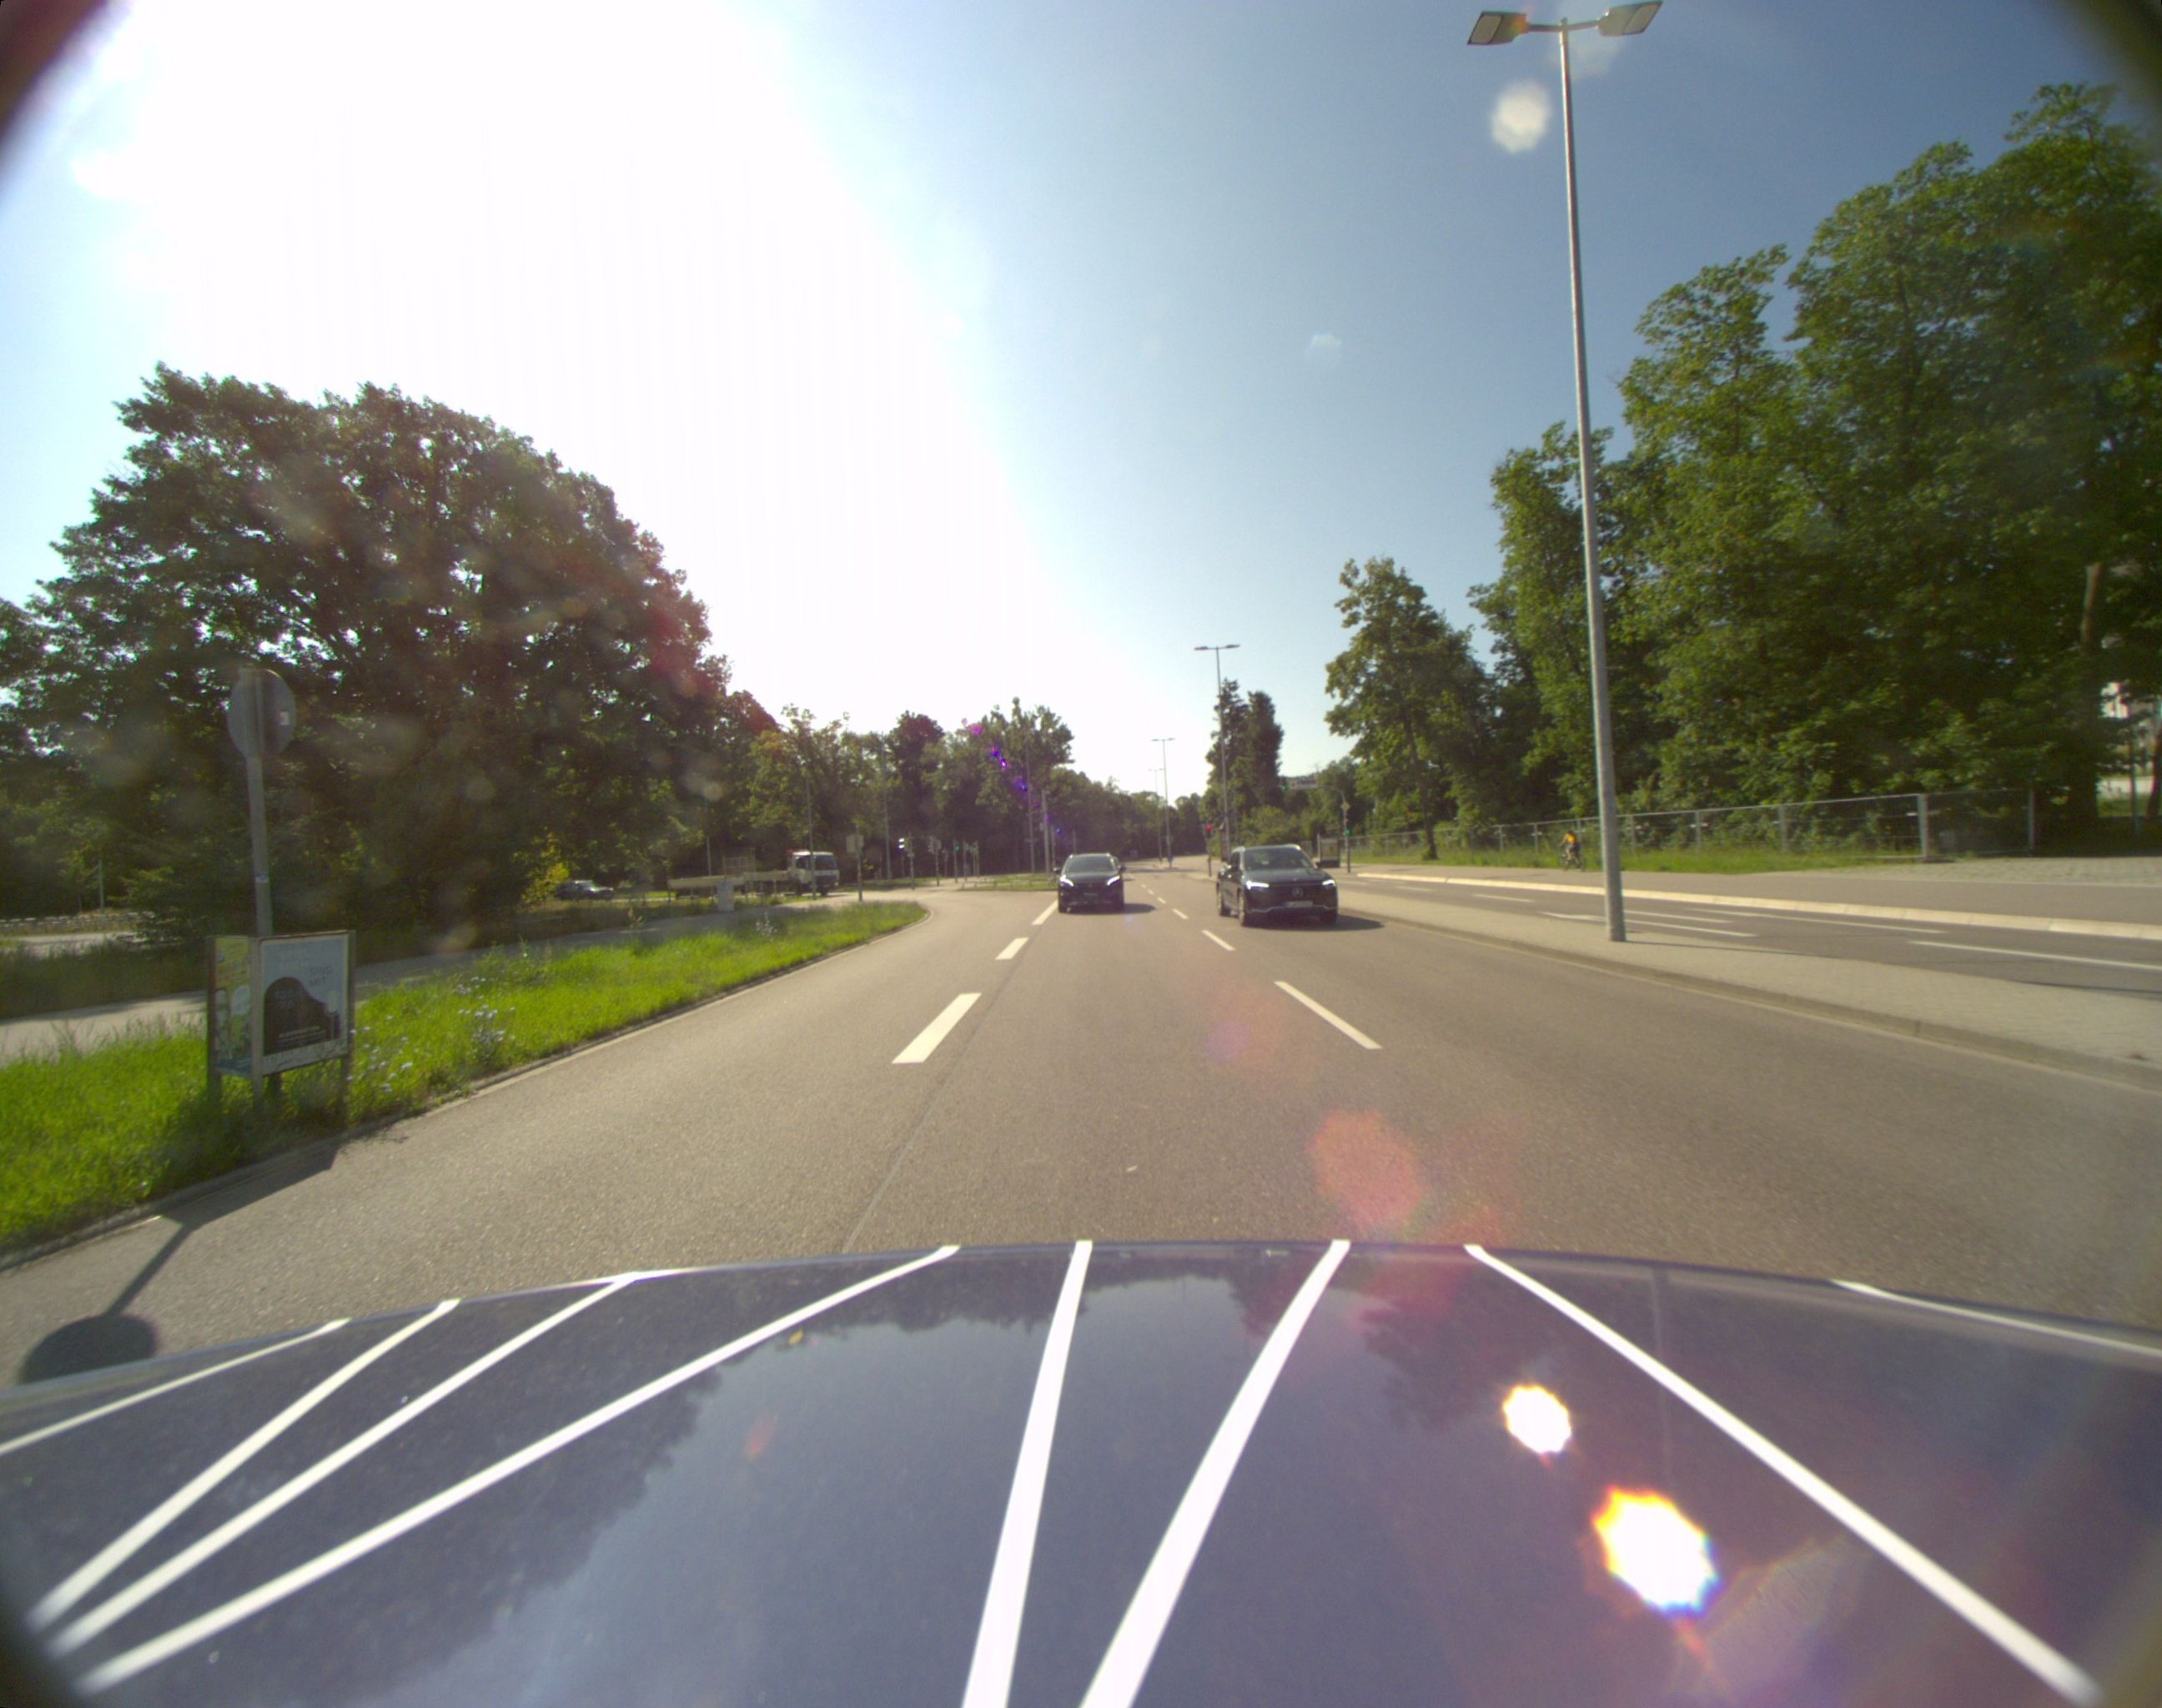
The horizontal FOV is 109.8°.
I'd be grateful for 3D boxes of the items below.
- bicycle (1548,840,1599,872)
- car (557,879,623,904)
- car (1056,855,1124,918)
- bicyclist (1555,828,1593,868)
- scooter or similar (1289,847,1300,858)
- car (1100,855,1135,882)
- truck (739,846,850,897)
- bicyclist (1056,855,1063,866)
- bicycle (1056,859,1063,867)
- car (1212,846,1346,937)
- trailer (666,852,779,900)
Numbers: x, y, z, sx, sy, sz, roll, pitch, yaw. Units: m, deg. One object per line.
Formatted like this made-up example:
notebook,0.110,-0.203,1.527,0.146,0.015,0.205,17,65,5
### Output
bicycle,18.945,0.071,29.284,0.661,1.129,1.878,-4,0,0
car,-34.229,2.620,52.988,3.991,1.475,1.849,-3,0,21
car,0.360,0.867,22.369,1.702,1.581,4.320,-3,0,3
bicyclist,18.918,-0.222,29.187,0.661,1.459,1.057,-4,0,0
scooter or similar,24.735,-0.189,87.948,1.082,1.215,0.395,-3,0,-21
car,2.185,0.833,46.325,1.932,1.499,4.000,-3,0,2
truck,-17.364,1.067,46.047,6.188,2.702,2.684,-3,0,27
bicyclist,-3.247,0.969,114.774,0.725,1.629,1.058,-3,0,7
bicycle,-3.283,1.346,114.590,0.725,1.192,2.102,-3,0,7
car,4.020,0.680,16.155,1.809,1.587,4.273,-3,0,2
trailer,-23.101,1.424,48.896,6.872,2.672,2.708,-3,0,26
